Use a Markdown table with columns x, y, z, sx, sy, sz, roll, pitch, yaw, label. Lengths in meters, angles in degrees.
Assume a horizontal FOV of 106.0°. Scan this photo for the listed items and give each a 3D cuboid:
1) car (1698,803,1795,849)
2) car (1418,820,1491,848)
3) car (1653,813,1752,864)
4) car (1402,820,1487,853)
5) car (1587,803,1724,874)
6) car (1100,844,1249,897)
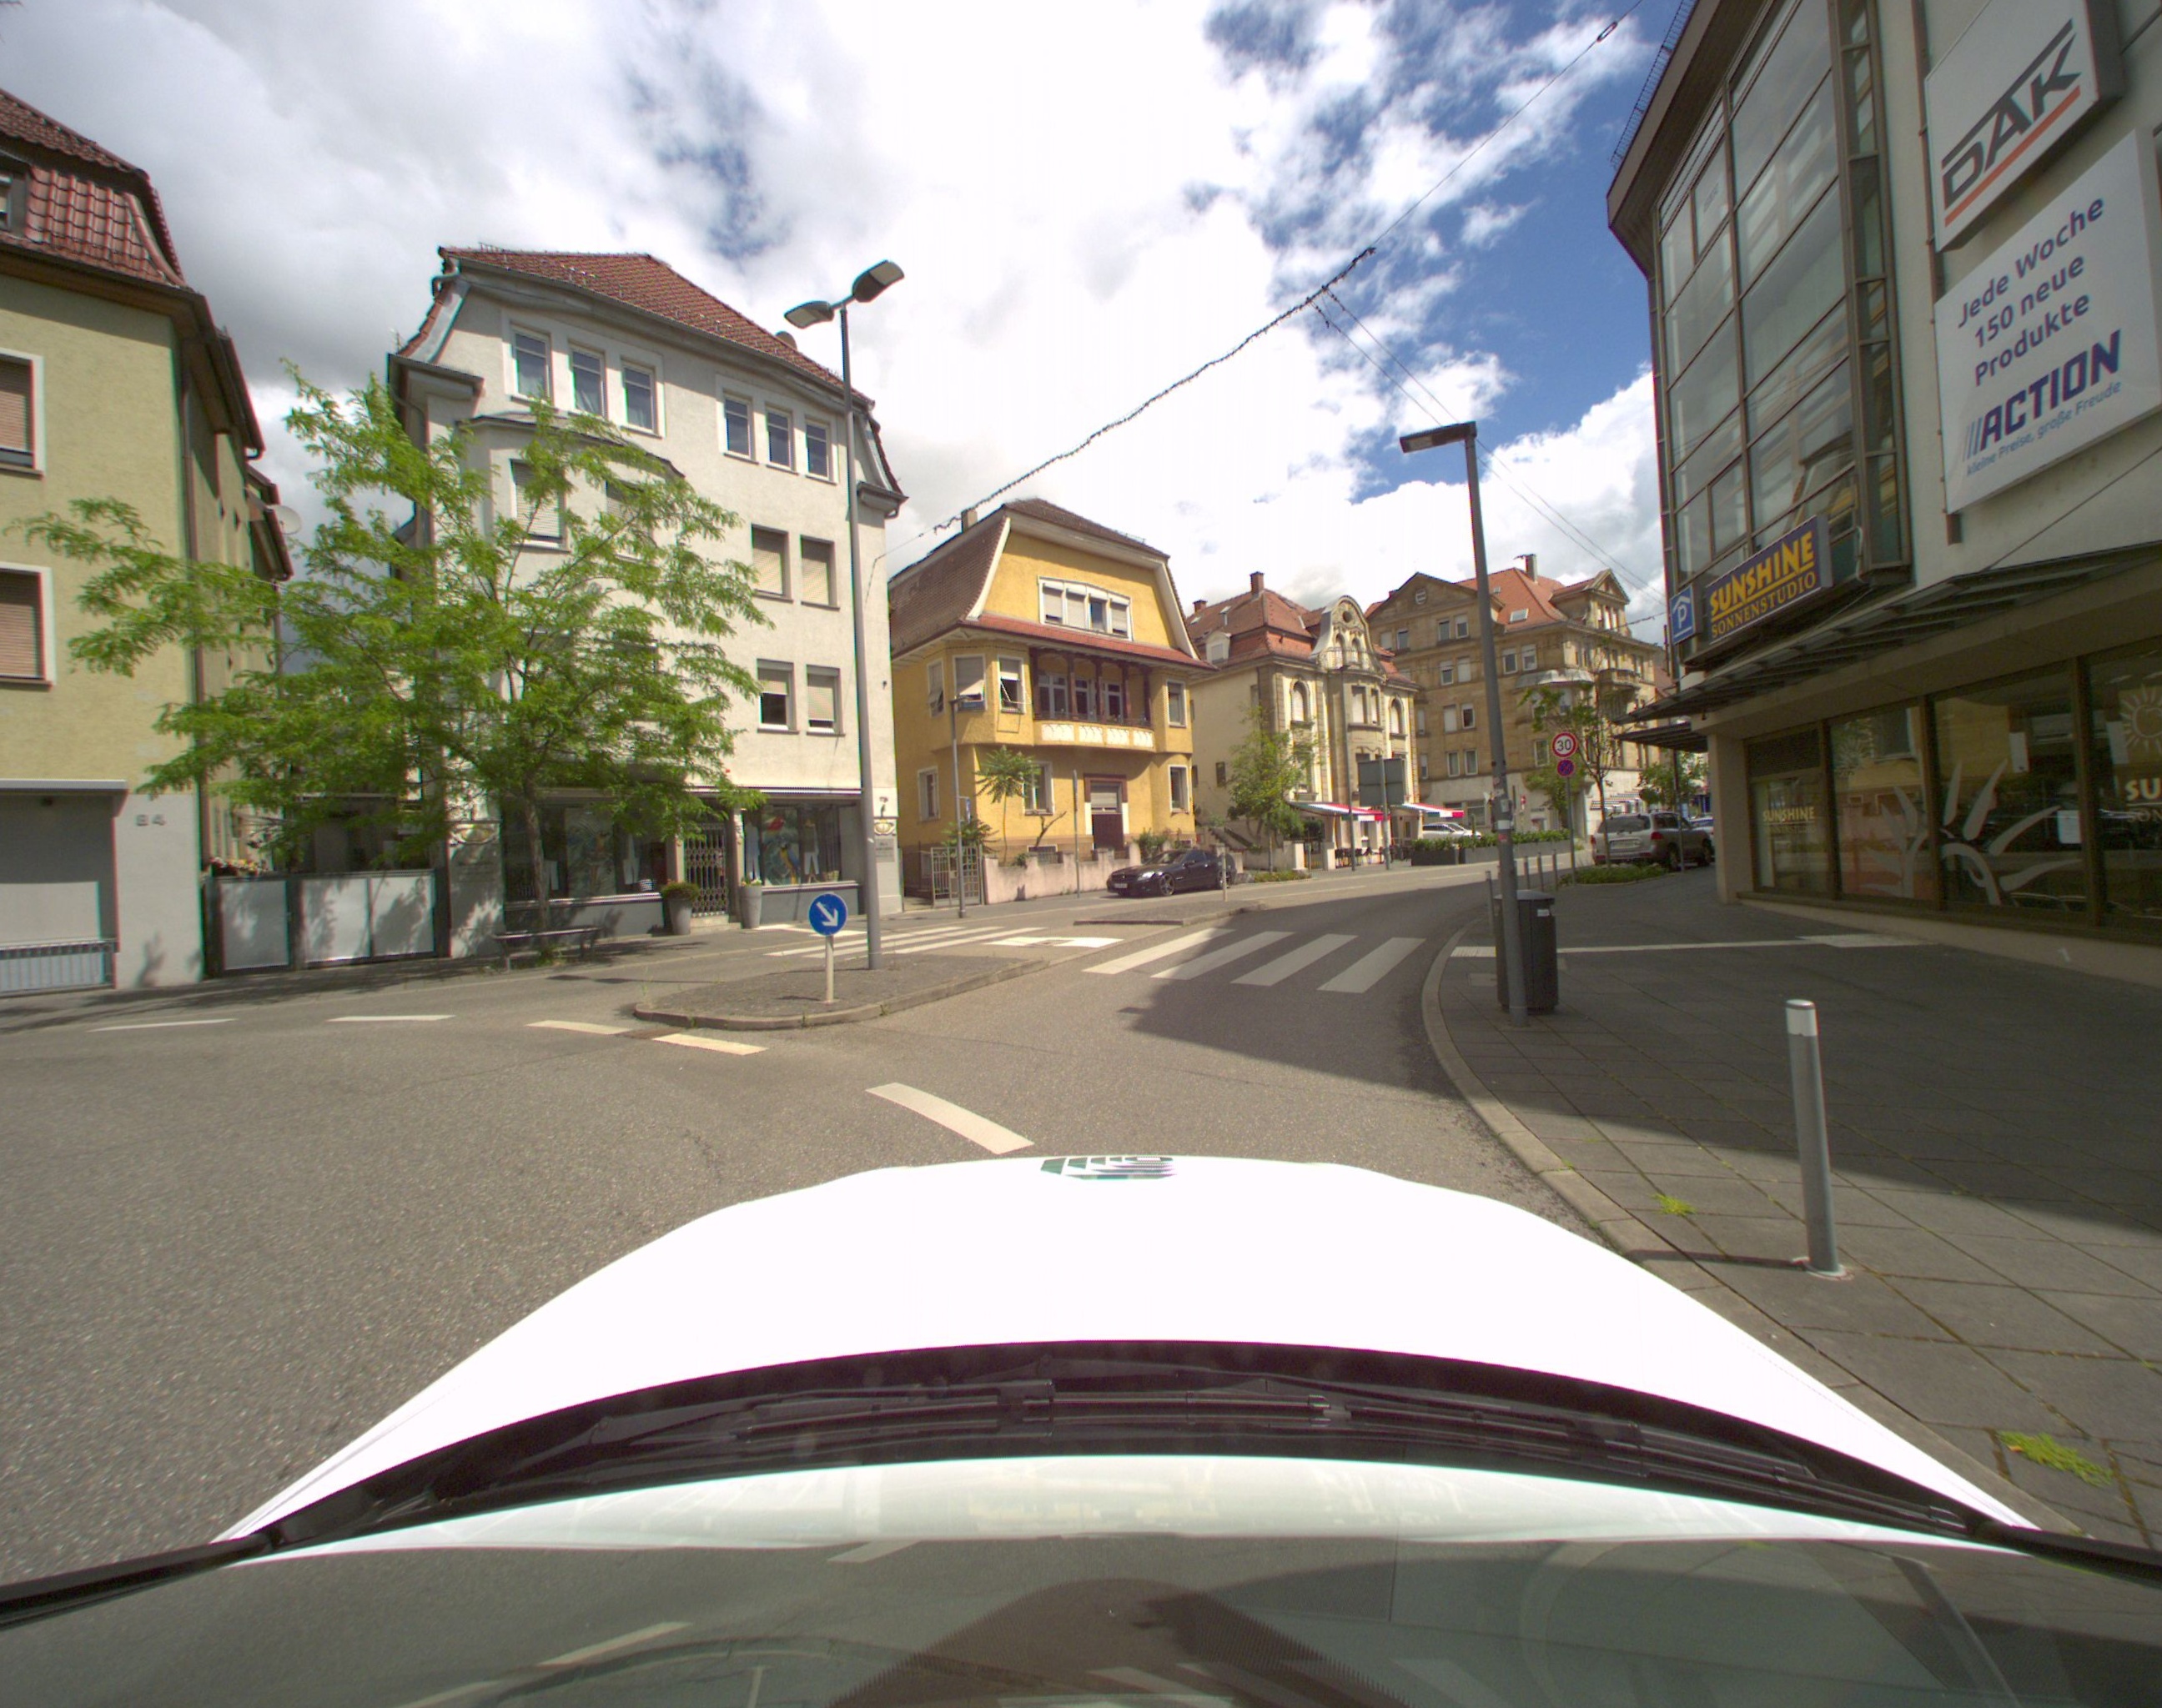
| x | y | z | sx | sy | sz | roll | pitch | yaw | label |
| --- | --- | --- | --- | --- | --- | --- | --- | --- | --- |
| 25.656 | -1.106 | 31.368 | 4.252 | 1.519 | 1.810 | -3 | -1 | -36 | car |
| 25.173 | -1.341 | 54.938 | 1.920 | 1.662 | 3.950 | -3 | 0 | -44 | car |
| 20.683 | -0.552 | 27.059 | 4.261 | 1.434 | 1.607 | -4 | 0 | -39 | car |
| 22.175 | -1.072 | 49.707 | 4.375 | 1.775 | 2.013 | -3 | 0 | 35 | car |
| 16.180 | -0.469 | 22.877 | 4.252 | 1.731 | 1.810 | -3 | -1 | -36 | car |
| 2.831 | 0.456 | 24.084 | 4.433 | 1.245 | 1.695 | -4 | 1 | -38 | car |
